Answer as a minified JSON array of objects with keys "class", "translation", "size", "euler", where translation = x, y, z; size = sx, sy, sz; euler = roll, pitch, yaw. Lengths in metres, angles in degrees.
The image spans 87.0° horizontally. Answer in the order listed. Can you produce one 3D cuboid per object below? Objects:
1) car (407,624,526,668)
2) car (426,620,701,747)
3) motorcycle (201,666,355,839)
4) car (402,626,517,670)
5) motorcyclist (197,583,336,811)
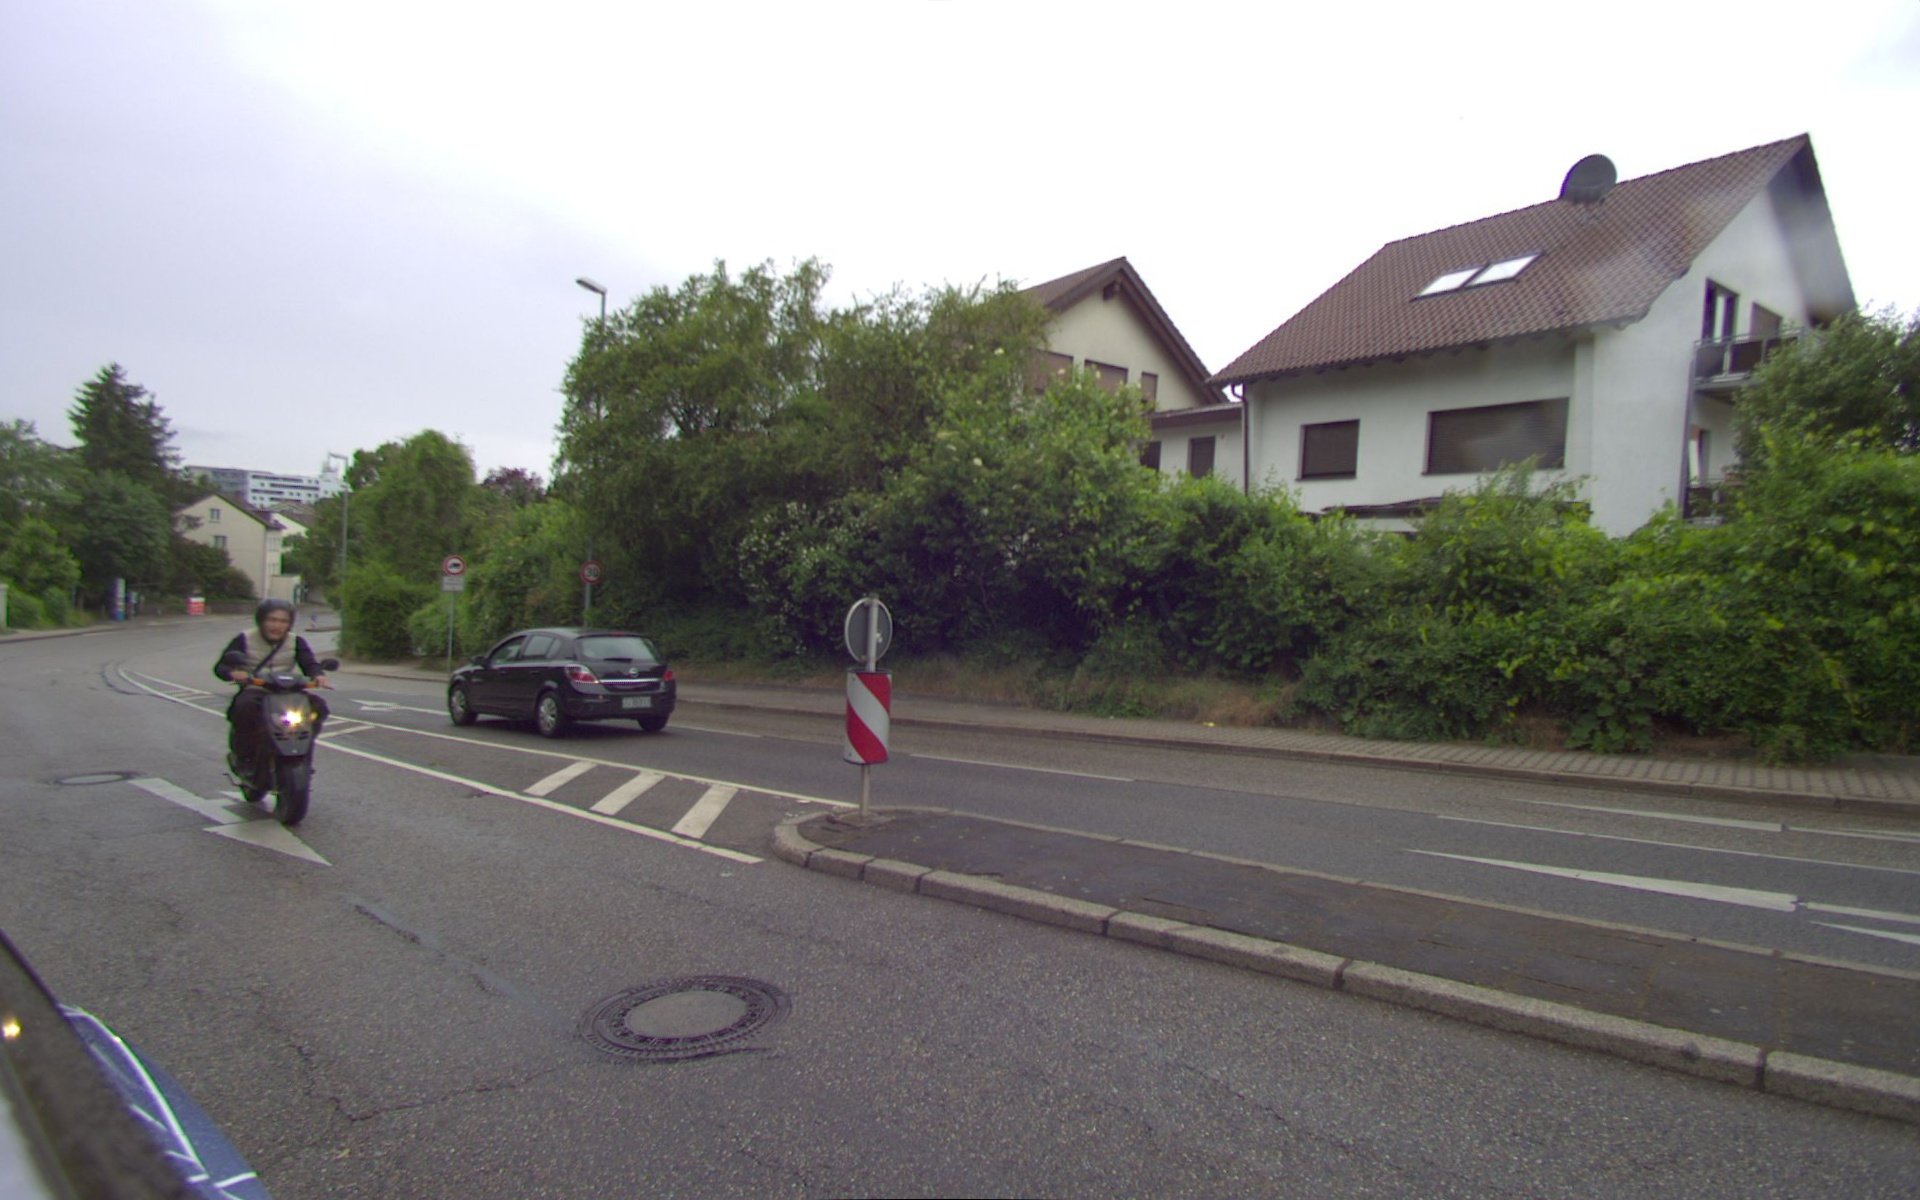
[{"class":"car","translation":[-19.528,1.784,40.106],"size":[3.853,1.451,1.814],"euler":[-3,1,-41]},{"class":"car","translation":[-5.640,1.073,14.225],"size":[3.996,1.521,1.876],"euler":[-1,-3,40]},{"class":"motorcycle","translation":[-5.234,1.088,7.725],"size":[0.682,1.061,1.749],"euler":[3,-1,-43]},{"class":"car","translation":[-21.009,1.992,42.548],"size":[3.939,1.548,2.003],"euler":[-3,1,-42]},{"class":"motorcyclist","translation":[-5.388,0.718,7.870],"size":[0.756,1.655,0.675],"euler":[3,-2,-43]}]
